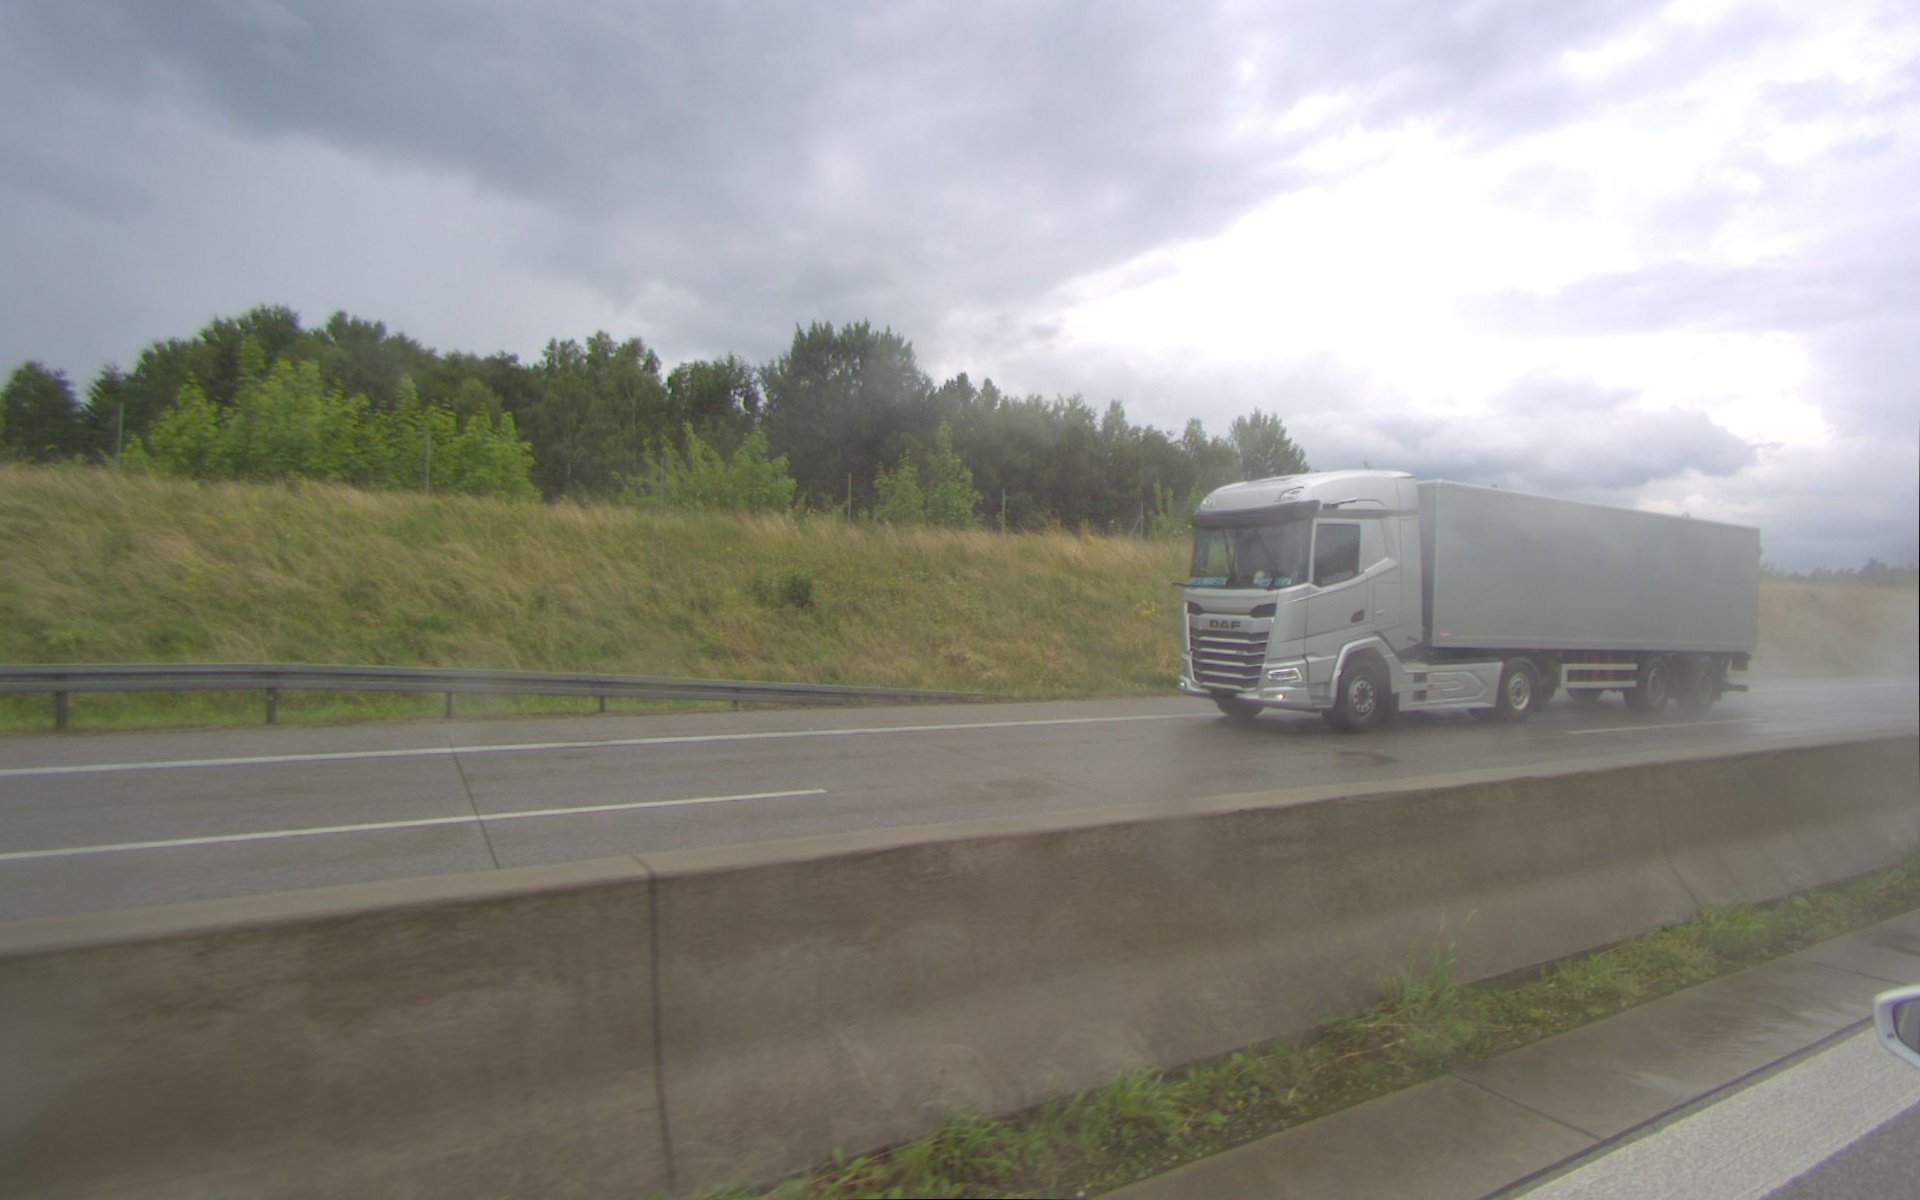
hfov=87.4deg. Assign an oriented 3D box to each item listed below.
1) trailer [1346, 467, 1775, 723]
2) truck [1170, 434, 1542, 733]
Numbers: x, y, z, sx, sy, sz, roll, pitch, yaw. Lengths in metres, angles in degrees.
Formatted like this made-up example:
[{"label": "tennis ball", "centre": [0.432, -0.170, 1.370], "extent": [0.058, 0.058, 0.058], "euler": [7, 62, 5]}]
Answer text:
[{"label": "trailer", "centre": [11.551, -0.041, 18.926], "extent": [9.250, 3.892, 2.889], "euler": [1, 0, -31]}, {"label": "truck", "centre": [6.214, -0.162, 15.713], "extent": [5.134, 3.921, 2.871], "euler": [1, -1, -31]}]
